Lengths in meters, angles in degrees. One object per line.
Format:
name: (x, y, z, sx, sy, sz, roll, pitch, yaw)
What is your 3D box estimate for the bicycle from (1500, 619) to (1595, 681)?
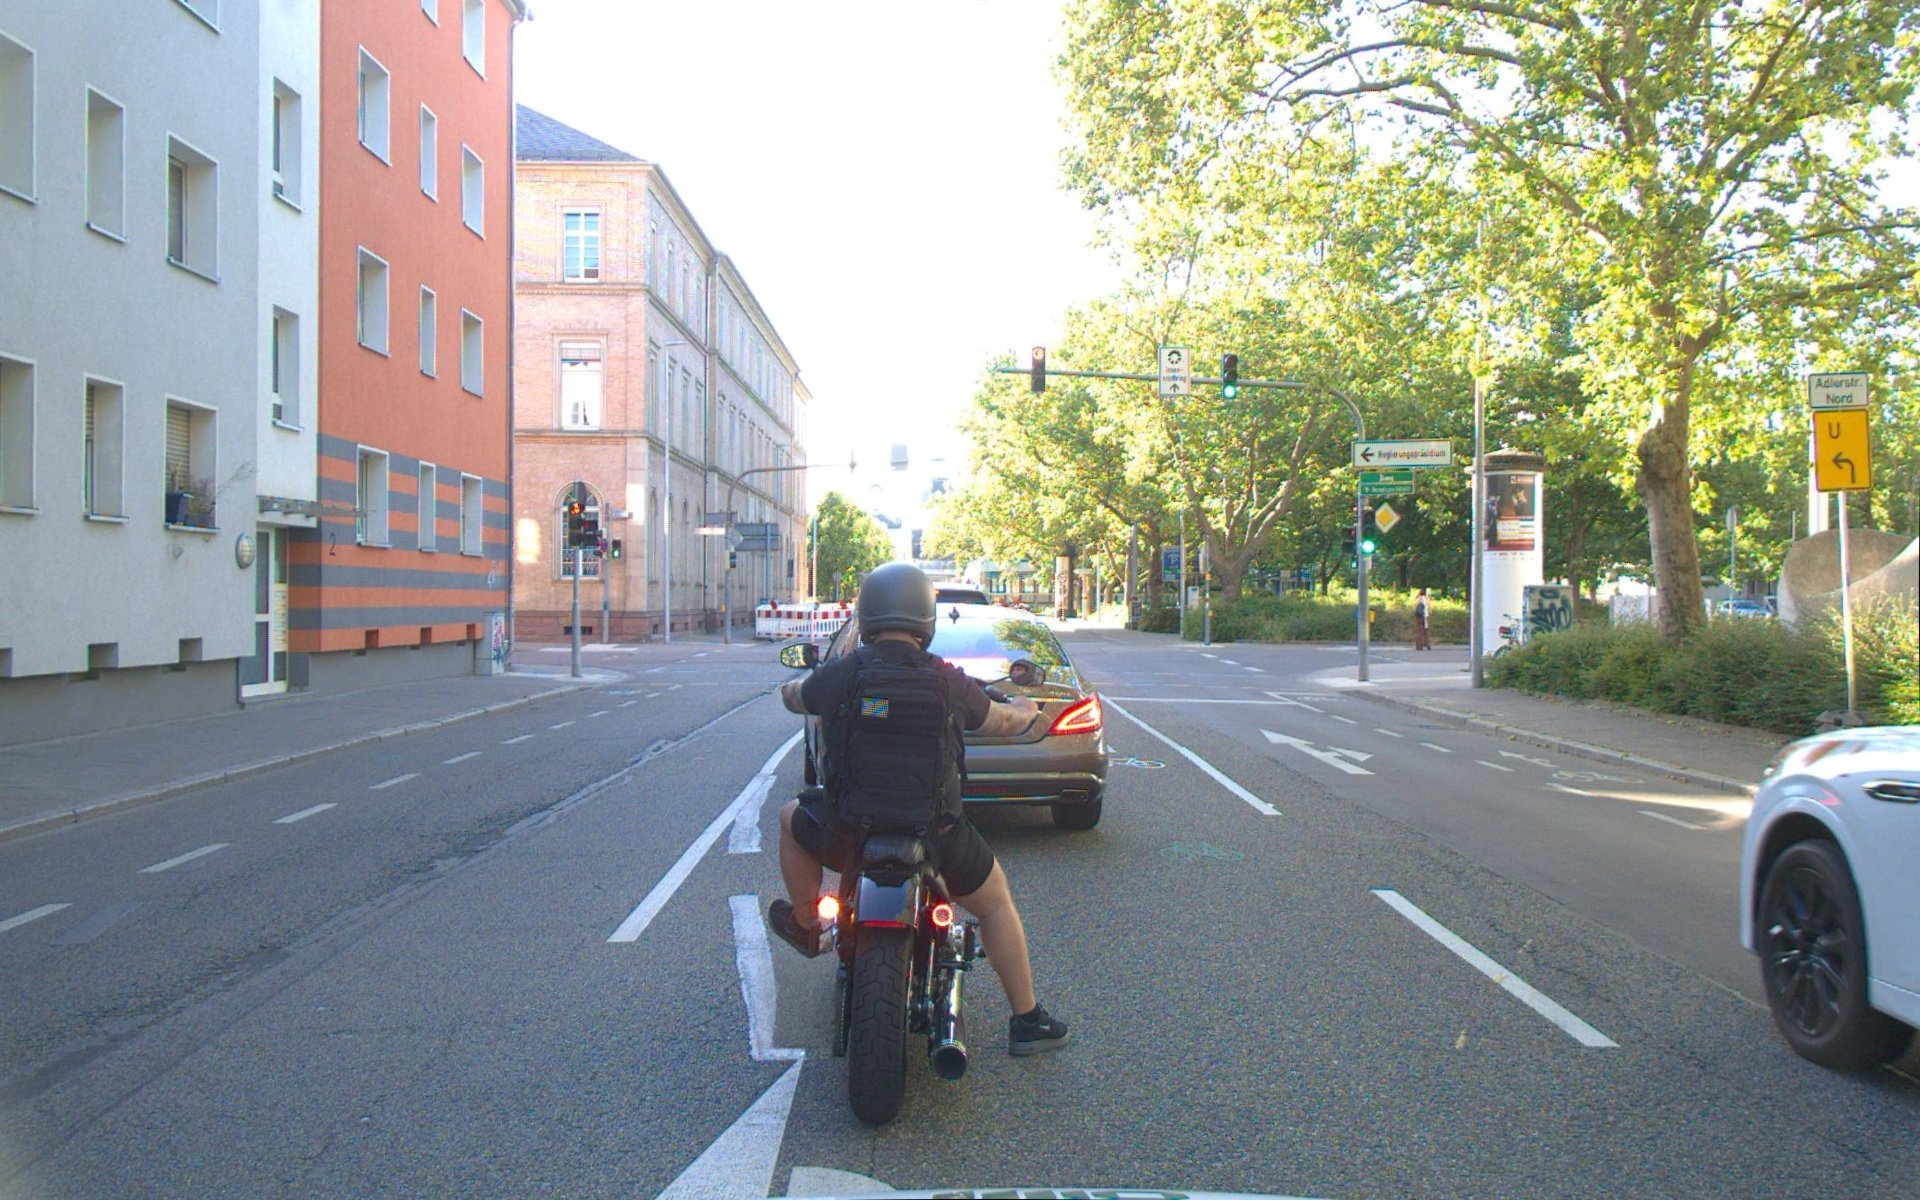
bicycle: (9.789, 0.837, 27.590, 1.452, 0.997, 0.299, 1, -1, 5)

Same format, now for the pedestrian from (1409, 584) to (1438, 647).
pedestrian: (13.439, 0.446, 47.946, 0.664, 1.803, 0.616, 1, -1, 29)

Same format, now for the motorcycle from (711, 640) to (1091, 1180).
motorcycle: (-0.165, 0.815, 5.406, 0.961, 1.297, 2.407, 0, 0, -1)

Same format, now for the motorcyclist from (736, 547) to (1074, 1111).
motorcyclist: (-0.164, 0.649, 5.344, 0.961, 1.606, 1.248, 0, 0, -1)

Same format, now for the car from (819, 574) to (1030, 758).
car: (-0.359, 0.633, 17.532, 1.953, 1.695, 3.999, 1, 0, -1)

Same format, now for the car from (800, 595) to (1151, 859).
car: (-0.110, 0.709, 11.613, 1.834, 1.469, 4.422, 0, 0, -8)

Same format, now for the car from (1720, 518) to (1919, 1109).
car: (3.773, 0.656, 3.918, 1.903, 1.738, 4.483, 2, 0, 1)
